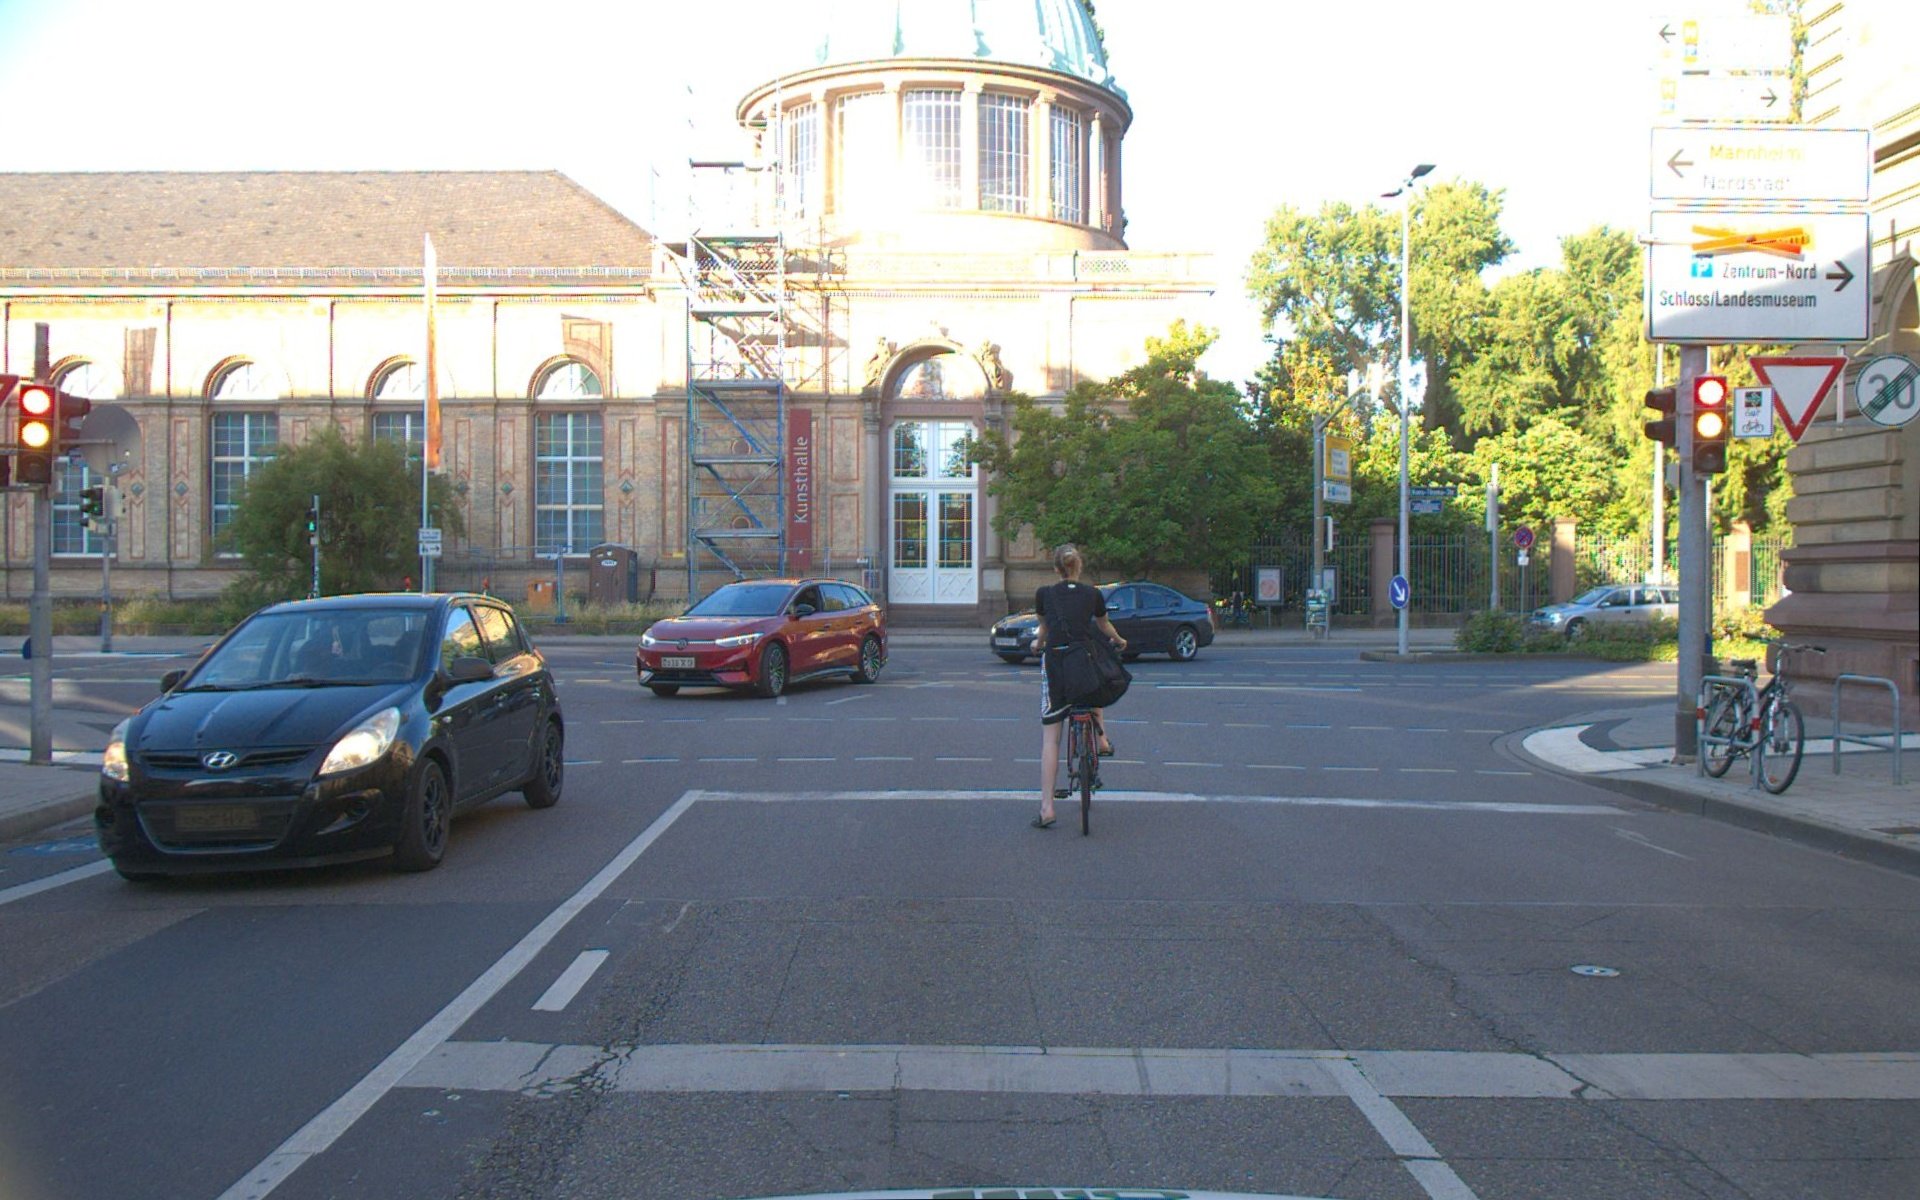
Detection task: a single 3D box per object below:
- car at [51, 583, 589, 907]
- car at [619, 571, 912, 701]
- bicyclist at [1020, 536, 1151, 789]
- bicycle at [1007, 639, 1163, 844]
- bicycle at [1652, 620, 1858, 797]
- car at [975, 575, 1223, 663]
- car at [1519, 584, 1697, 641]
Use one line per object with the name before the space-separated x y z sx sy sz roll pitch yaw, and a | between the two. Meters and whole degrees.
car | -3.544 0.689 9.966 1.623 1.497 3.855 -1 1 2
car | -2.571 0.423 23.244 1.794 1.572 4.844 -1 1 25
bicyclist | 0.805 0.387 10.476 0.701 1.529 0.851 0 -1 13
bicycle | 0.851 0.846 10.678 0.696 1.176 2.070 0 -1 13
bicycle | 5.845 0.759 12.279 0.570 1.209 1.920 0 -1 -1
car | 2.582 0.312 30.344 4.367 1.484 1.768 -1 0 -33
car | 17.222 0.304 44.051 4.104 1.470 1.713 0 1 -6
